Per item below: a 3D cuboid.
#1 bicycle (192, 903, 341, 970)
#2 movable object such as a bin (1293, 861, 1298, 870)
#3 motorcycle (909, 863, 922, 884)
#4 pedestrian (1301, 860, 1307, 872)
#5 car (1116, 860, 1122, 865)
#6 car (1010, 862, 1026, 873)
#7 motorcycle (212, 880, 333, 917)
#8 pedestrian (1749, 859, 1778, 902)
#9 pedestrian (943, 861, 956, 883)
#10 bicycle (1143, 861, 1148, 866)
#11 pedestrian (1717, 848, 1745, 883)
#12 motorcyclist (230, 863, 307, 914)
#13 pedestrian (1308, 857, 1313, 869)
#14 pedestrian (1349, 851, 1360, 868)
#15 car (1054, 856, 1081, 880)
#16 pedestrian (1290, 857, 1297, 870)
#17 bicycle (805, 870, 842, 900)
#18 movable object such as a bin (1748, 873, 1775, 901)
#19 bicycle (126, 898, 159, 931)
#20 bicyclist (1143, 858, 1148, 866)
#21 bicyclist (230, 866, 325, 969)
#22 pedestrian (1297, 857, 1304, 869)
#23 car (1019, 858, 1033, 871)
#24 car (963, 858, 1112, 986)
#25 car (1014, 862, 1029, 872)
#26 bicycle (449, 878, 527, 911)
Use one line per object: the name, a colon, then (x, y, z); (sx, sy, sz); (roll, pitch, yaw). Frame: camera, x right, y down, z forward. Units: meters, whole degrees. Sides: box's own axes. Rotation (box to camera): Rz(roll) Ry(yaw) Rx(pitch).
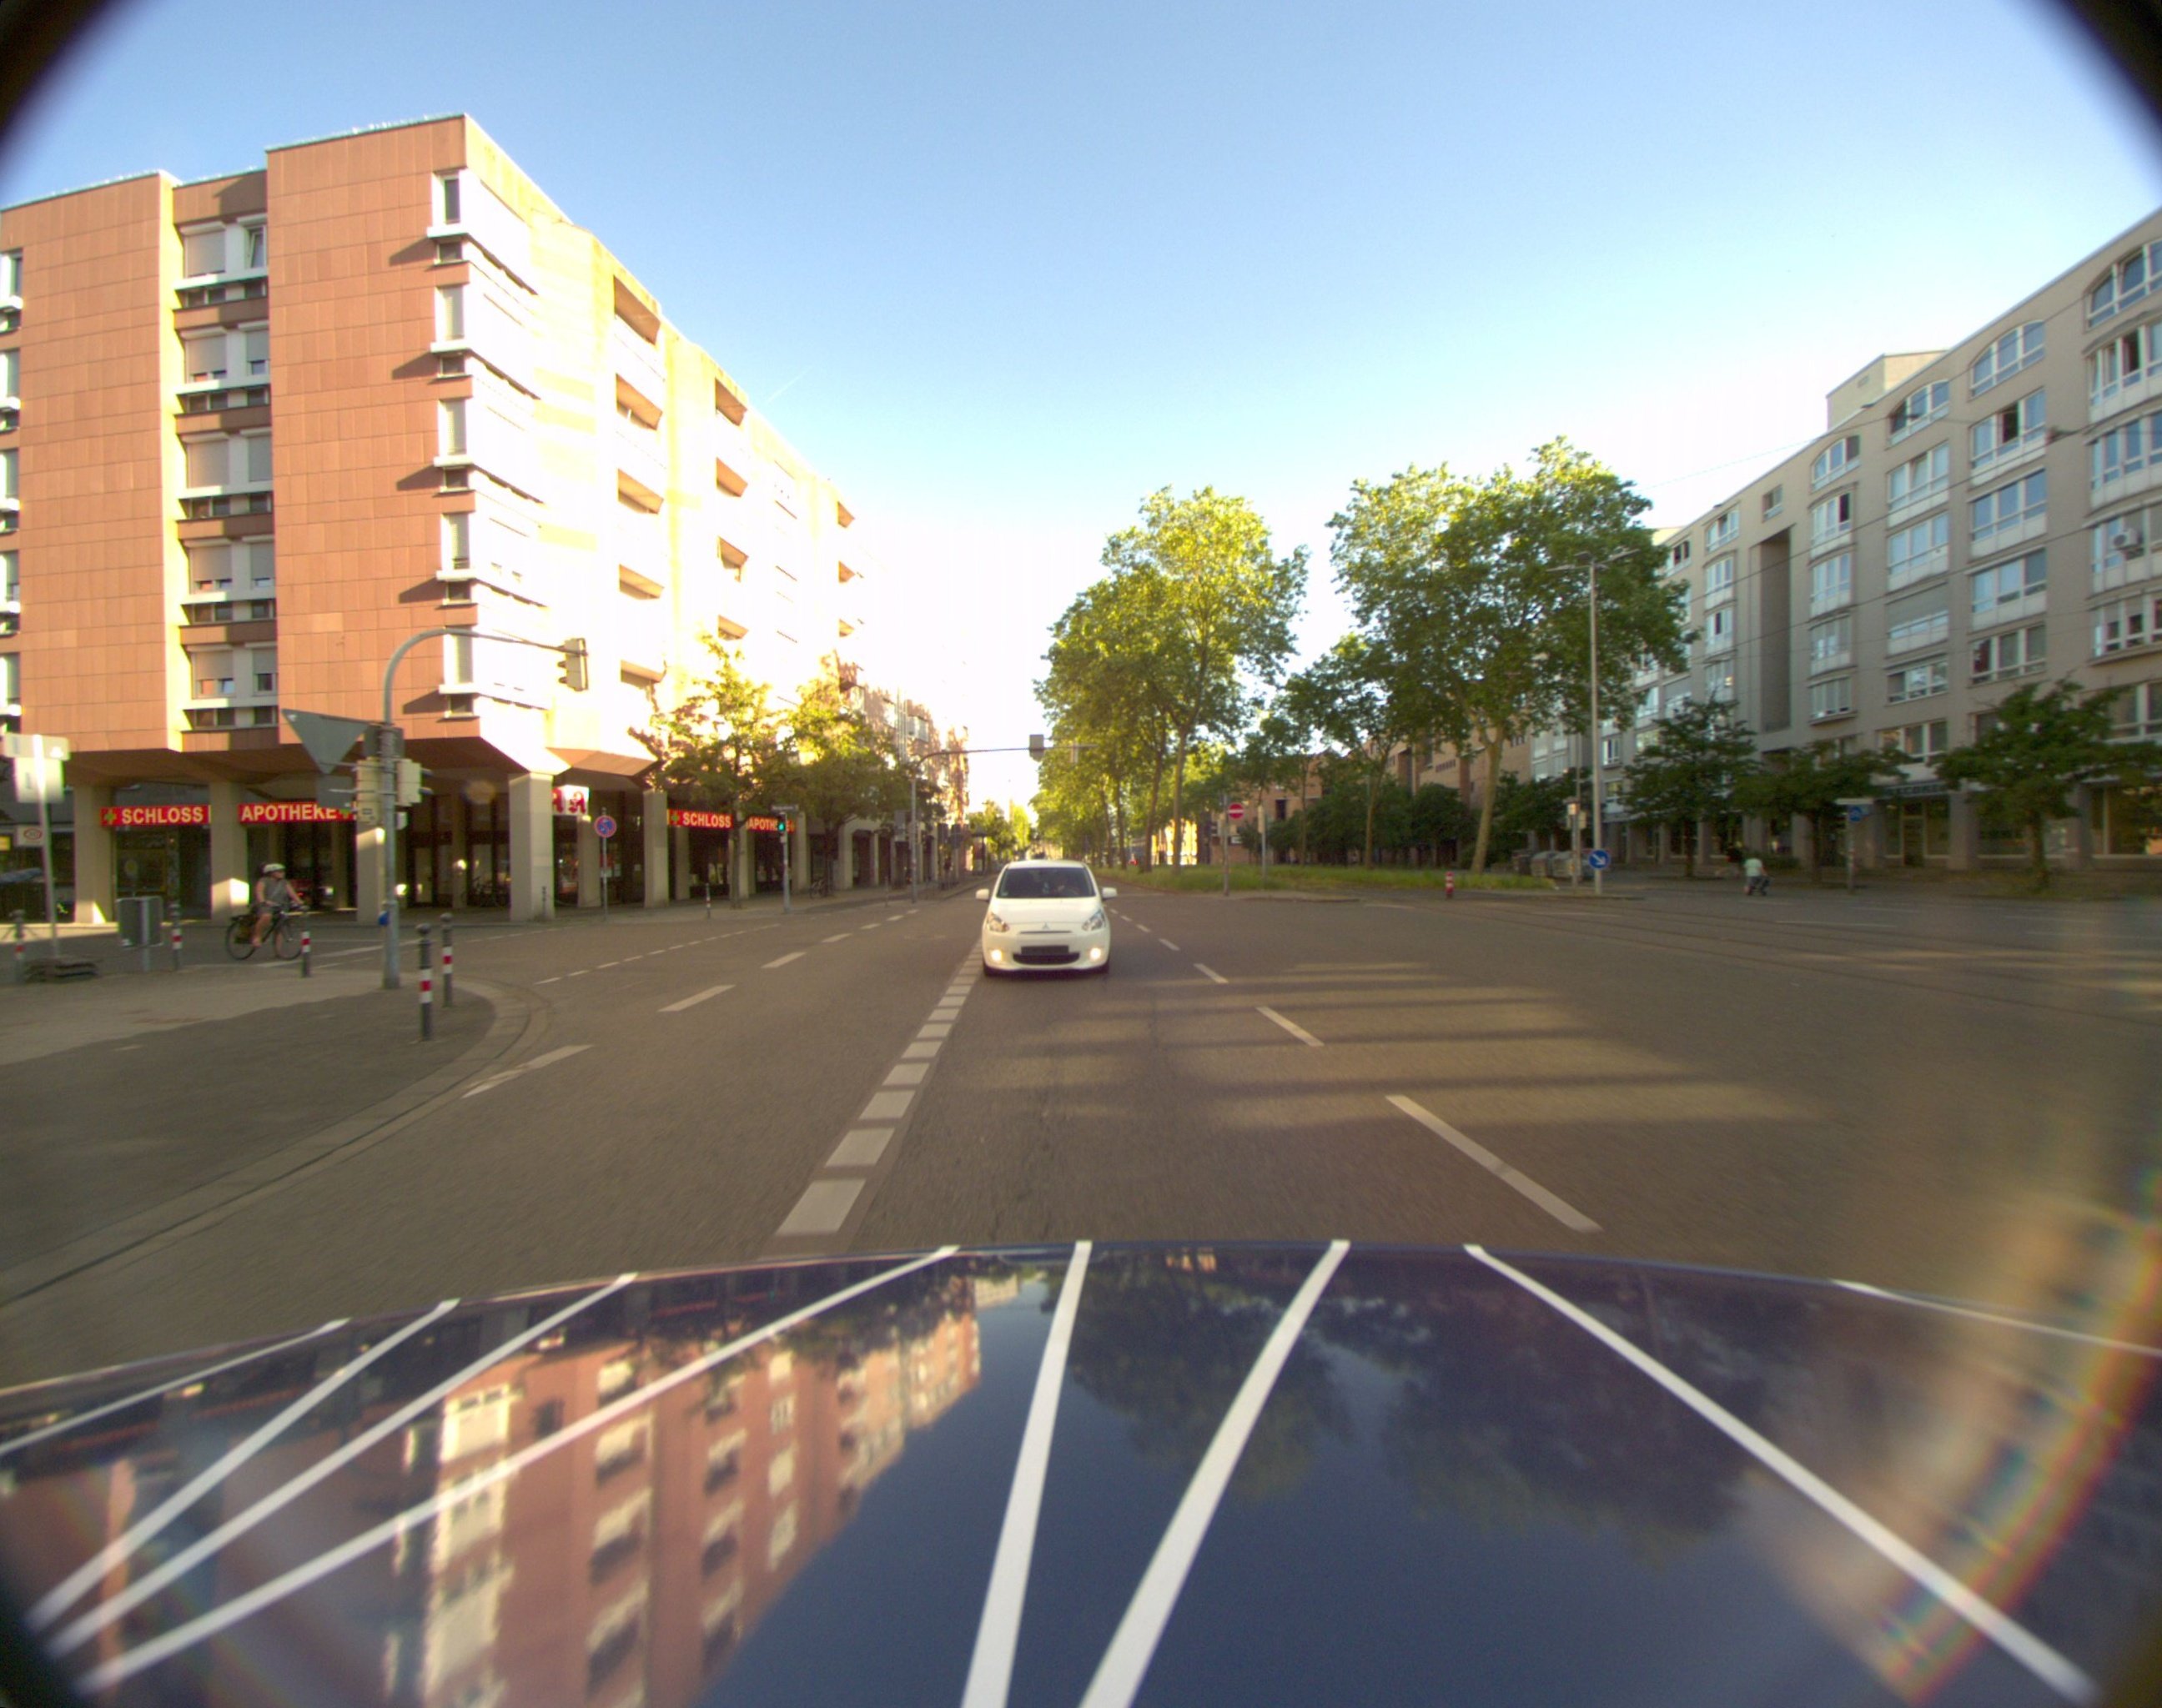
bicycle: (-14.543, 1.461, 13.600); (1.919, 1.106, 0.804); (-1, 0, 6)
movable object such as a bin: (28.304, 1.518, 100.360); (0.356, 1.271, 0.756); (-1, 0, -3)
motorcycle: (-11.206, 1.278, 51.395); (0.489, 1.364, 2.090); (-1, 0, -2)
pedestrian: (29.737, 1.624, 101.353); (0.612, 1.669, 0.596); (-1, 0, -4)
car: (11.003, 2.465, 220.364); (1.617, 1.420, 3.221); (-1, -1, -4)
car: (-8.551, 1.799, 103.216); (1.706, 1.474, 4.249); (0, -1, 0)
motorcycle: (-28.354, 1.543, 26.682); (2.825, 1.171, 1.349); (-1, 0, 2)
pedestrian: (24.498, 0.948, 27.289); (0.621, 1.494, 0.533); (-1, 0, -20)
pedestrian: (-10.231, 1.404, 59.108); (0.782, 1.728, 0.837); (-1, 0, 6)
bicycle: (13.862, 2.085, 163.380); (0.959, 1.119, 2.435); (-1, 0, -2)
pedestrian: (31.336, 0.547, 36.636); (0.708, 1.629, 0.789); (-1, 0, 9)
motorcyclist: (-28.521, 1.204, 26.700); (1.174, 1.679, 1.335); (-2, 1, 1)
pedestrian: (30.497, 1.209, 101.013); (0.485, 1.496, 0.462); (-1, 0, -21)
pedestrian: (30.312, 0.609, 84.302); (0.826, 1.820, 0.901); (-1, 0, -2)
car: (-0.979, 1.009, 54.686); (1.824, 1.630, 3.999); (-1, 0, -2)
pedestrian: (28.286, 1.303, 101.142); (0.666, 1.712, 0.796); (-1, 0, -3)
bicycle: (-11.004, 1.323, 32.509); (0.623, 1.218, 1.928); (-1, 0, 10)
movable object such as a bin: (24.037, 1.159, 26.839); (0.511, 0.948, 0.540); (-1, 0, 11)
bicycle: (-30.359, 1.943, 24.578); (1.314, 1.013, 0.613); (-1, 0, 37)
bicyclist: (13.845, 1.716, 163.317); (0.944, 1.561, 1.209); (-1, 0, -2)
bicyclist: (-14.330, 1.115, 13.575); (0.827, 1.760, 0.788); (-1, 0, 6)
pedestrian: (29.248, 1.190, 101.299); (0.666, 1.607, 0.756); (-1, 0, -3)
car: (-8.444, 1.624, 116.385); (2.043, 1.932, 5.196); (1, -1, -4)
car: (-0.463, 0.856, 11.364); (1.720, 1.442, 4.425); (-3, -1, 2)
car: (-8.532, 1.847, 109.070); (1.706, 1.456, 4.176); (0, -1, 1)
bicycle: (-21.045, 1.429, 26.981); (2.447, 1.088, 0.593); (-1, 0, 6)
